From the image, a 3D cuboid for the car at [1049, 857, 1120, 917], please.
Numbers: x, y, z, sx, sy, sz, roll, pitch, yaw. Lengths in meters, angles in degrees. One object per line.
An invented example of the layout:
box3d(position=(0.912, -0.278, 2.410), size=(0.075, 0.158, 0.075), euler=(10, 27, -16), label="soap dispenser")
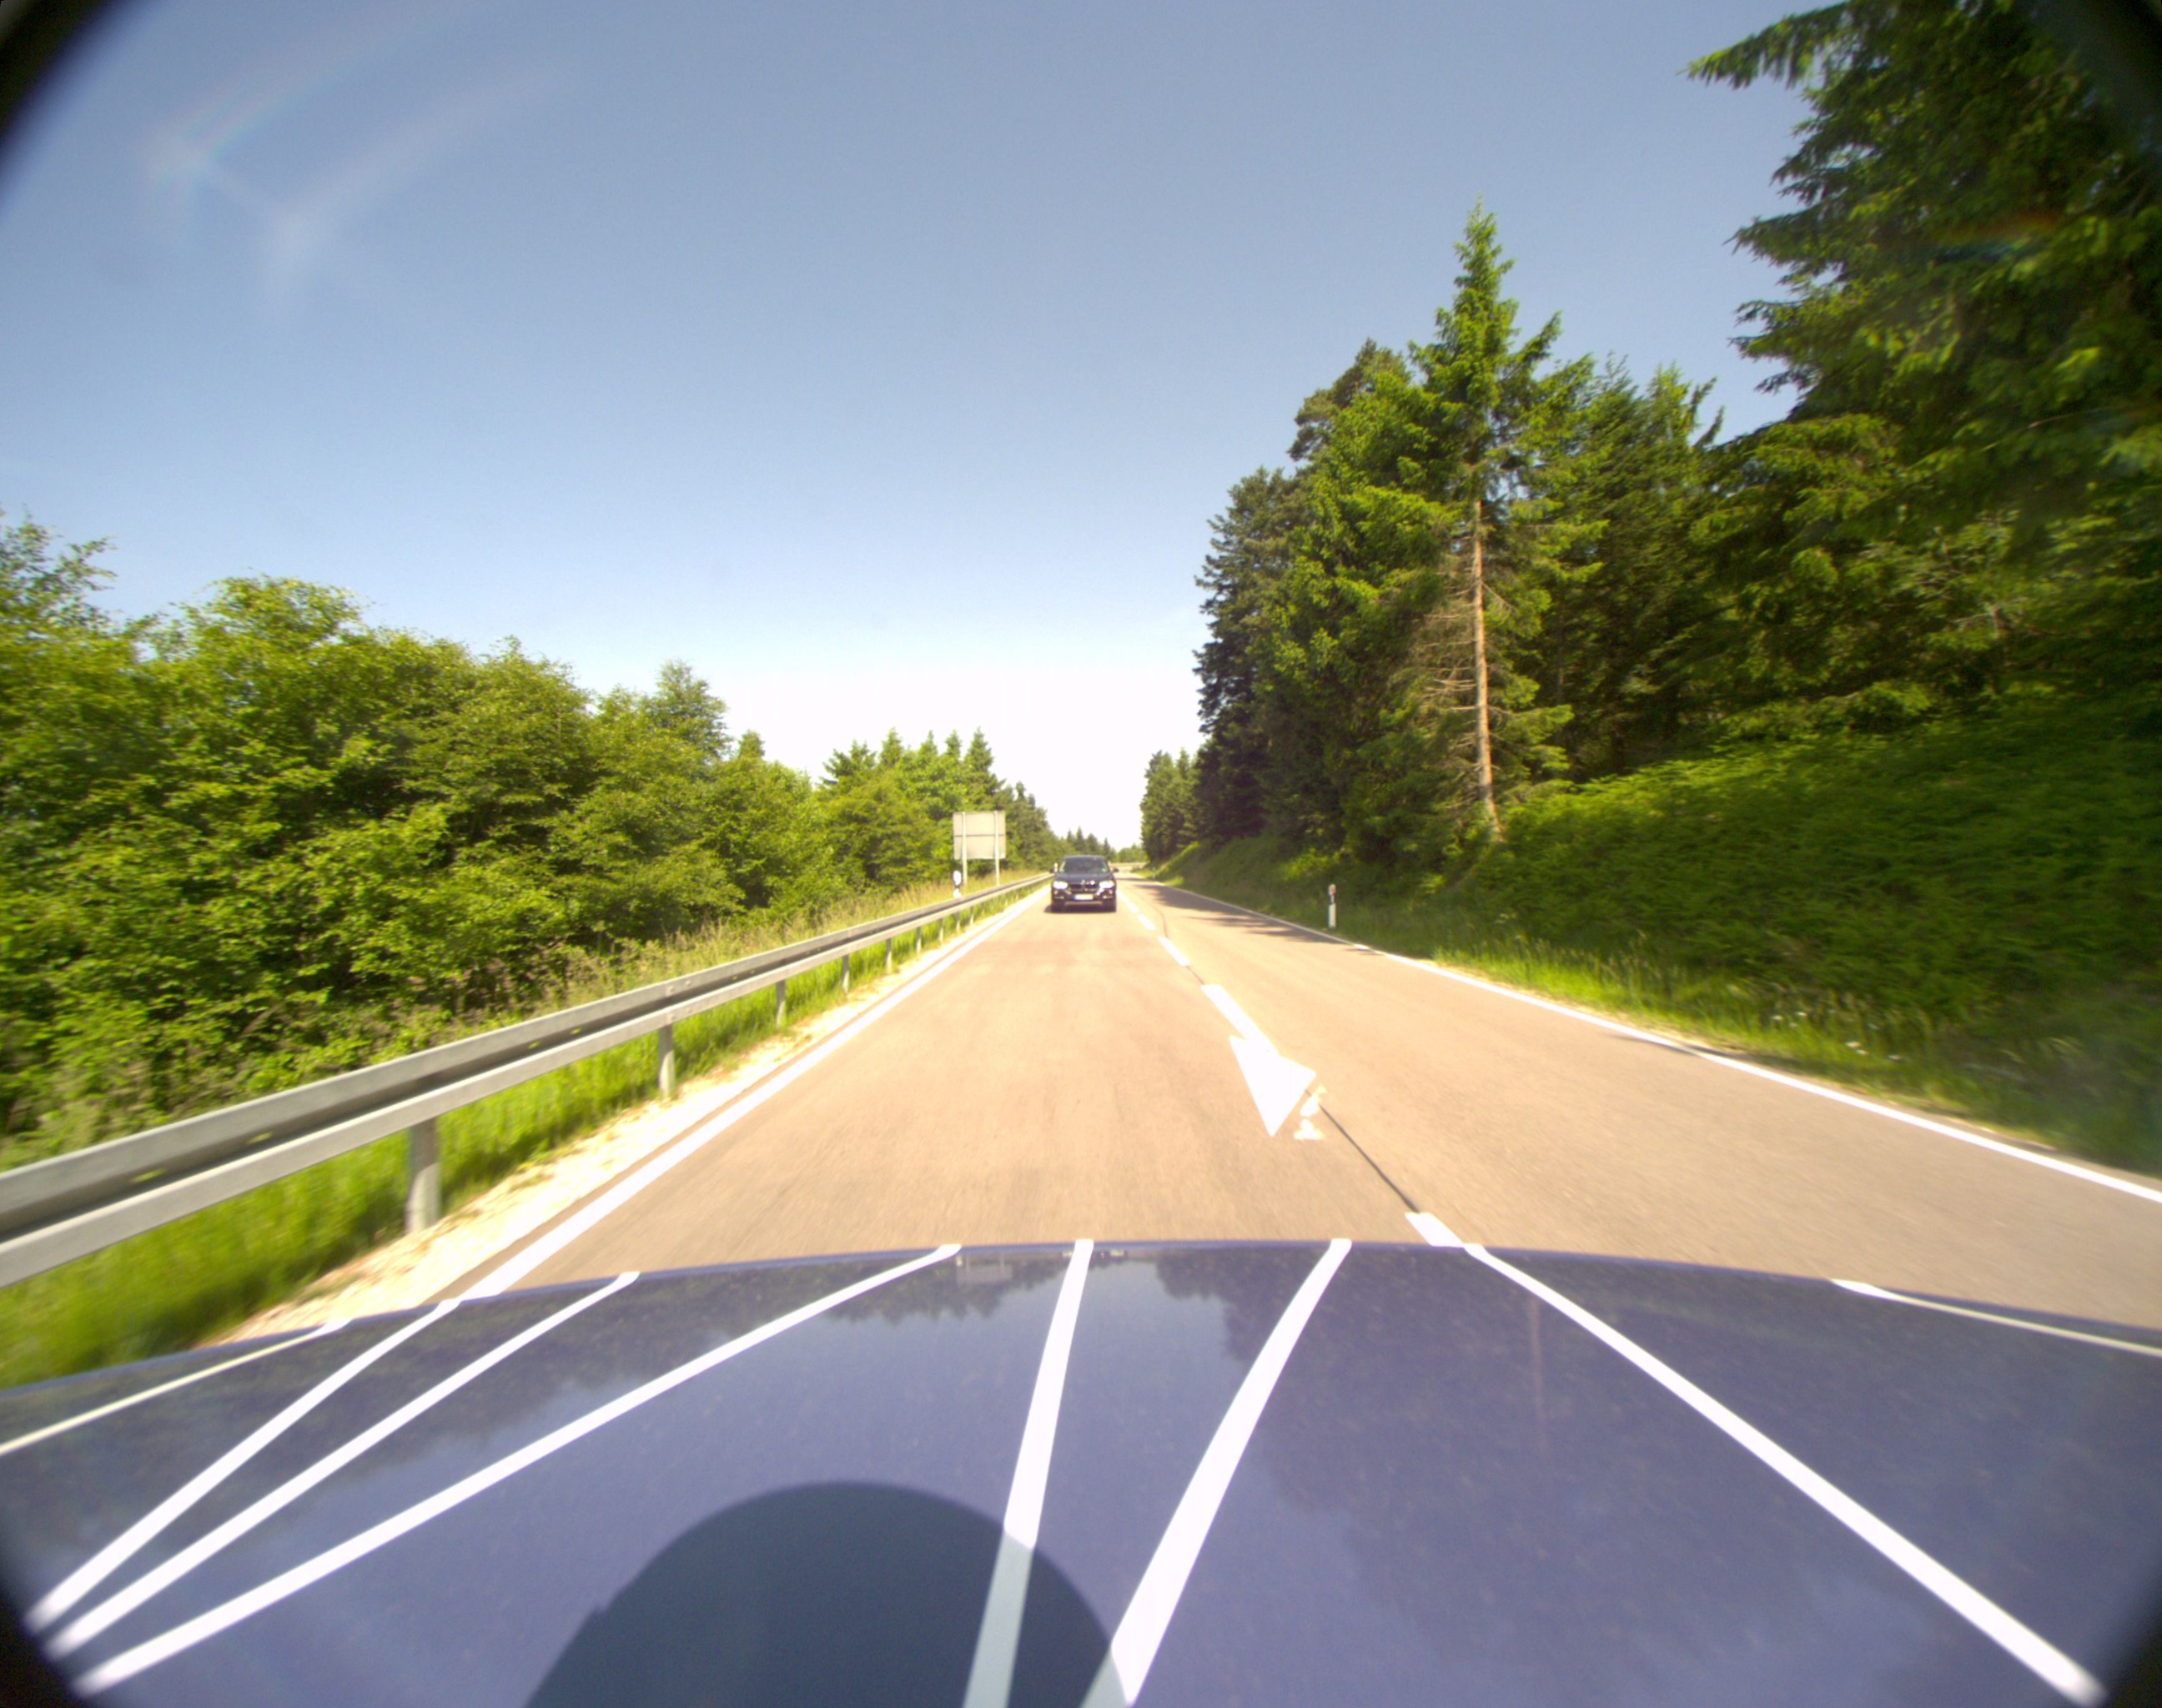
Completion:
box3d(position=(0.116, 0.956, 24.780), size=(1.998, 1.676, 5.936), euler=(2, 0, 0), label="car")
